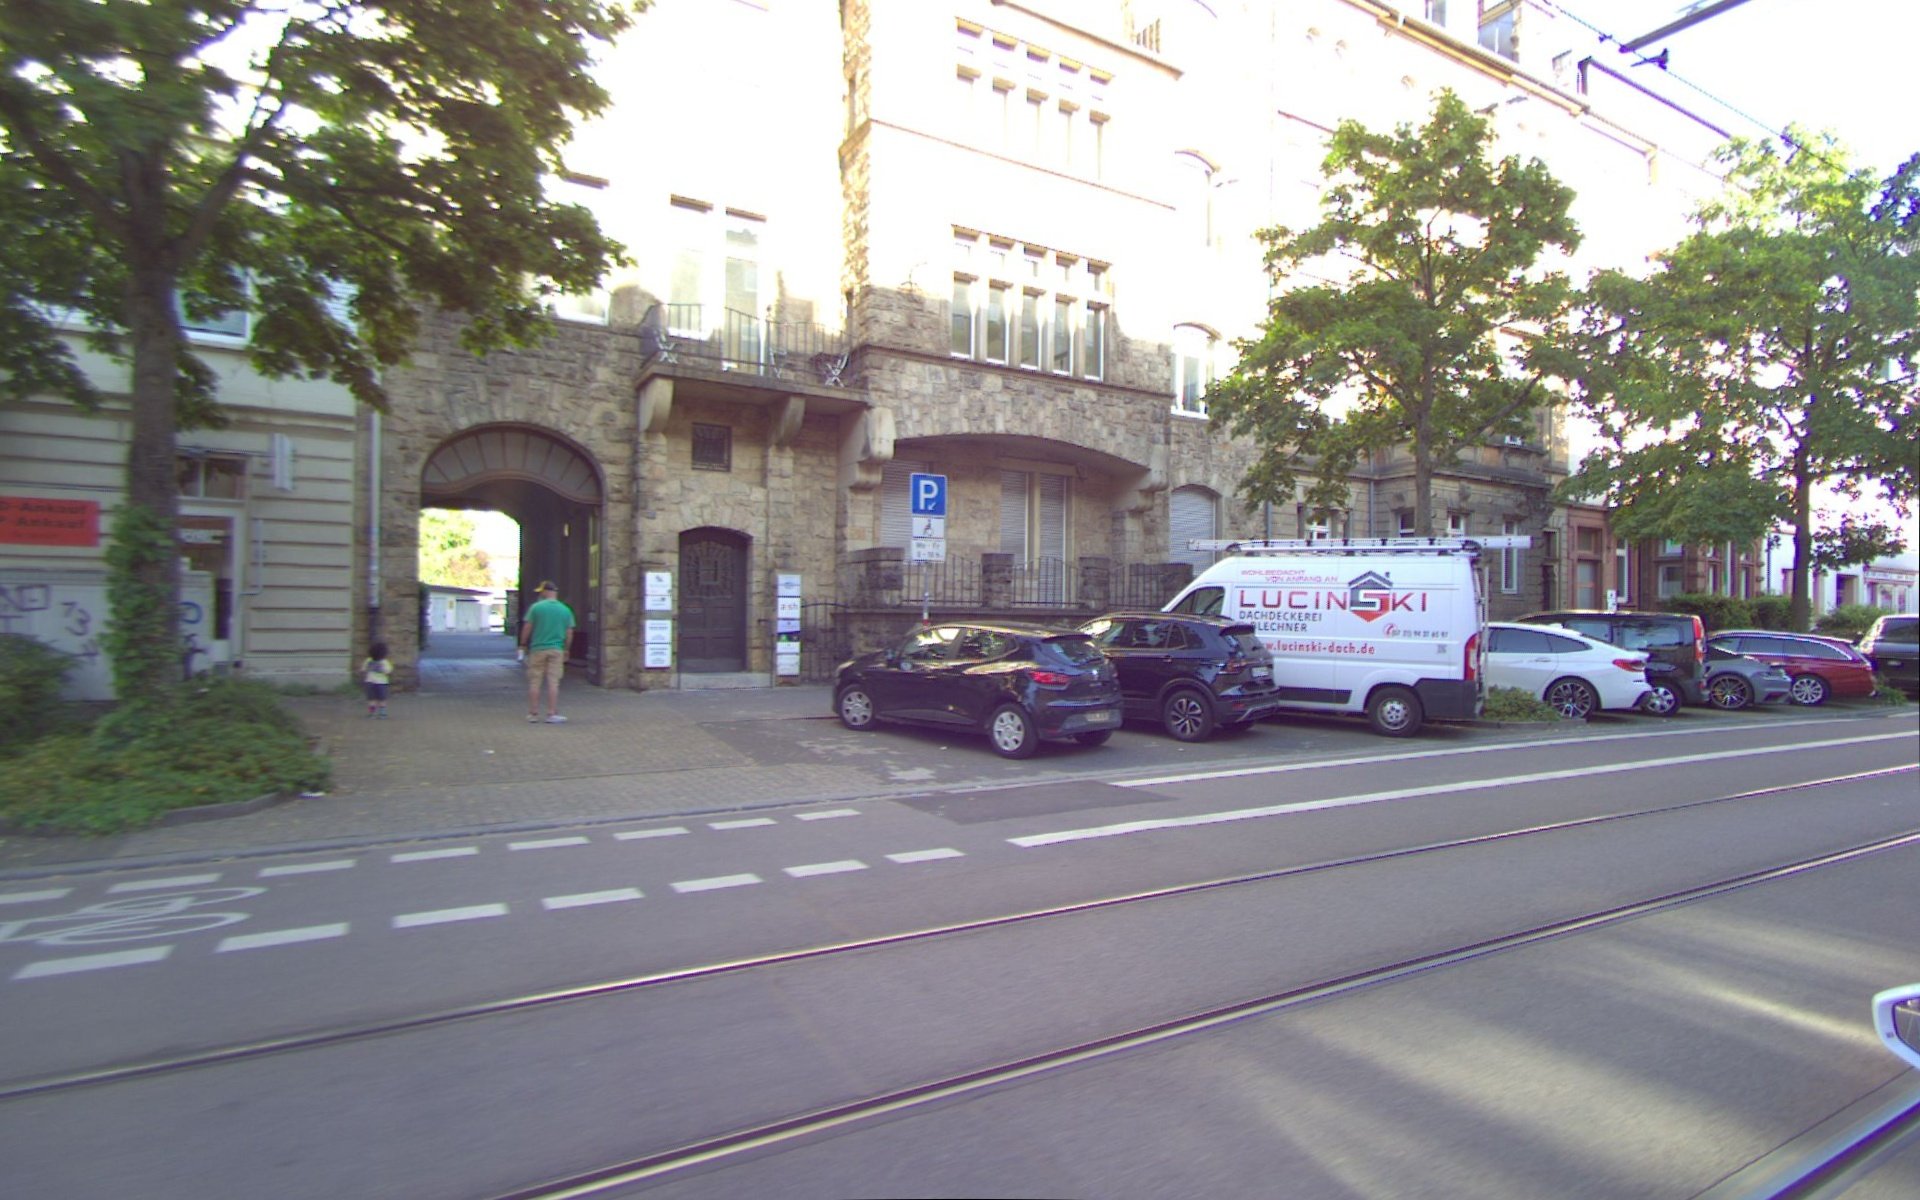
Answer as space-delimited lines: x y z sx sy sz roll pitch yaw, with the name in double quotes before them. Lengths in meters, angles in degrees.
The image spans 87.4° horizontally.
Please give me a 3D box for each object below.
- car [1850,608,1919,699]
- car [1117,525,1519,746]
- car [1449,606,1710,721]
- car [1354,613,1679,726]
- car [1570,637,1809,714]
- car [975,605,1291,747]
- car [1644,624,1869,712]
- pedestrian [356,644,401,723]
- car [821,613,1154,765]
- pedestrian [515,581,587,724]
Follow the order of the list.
"car" 23.382 1.265 24.121 5.185 1.999 1.737 2 -1 -34
"car" 5.151 0.426 14.783 5.293 2.785 1.802 1 0 31
"car" 11.358 1.081 18.583 3.934 1.841 1.707 1 0 35
"car" 9.433 1.108 17.387 4.684 1.639 1.710 1 0 28
"car" 14.481 1.452 20.158 3.746 1.282 1.511 1 -1 35
"car" 2.317 0.936 13.856 3.934 1.639 1.707 1 -1 35
"car" 17.123 1.391 21.758 3.678 1.644 1.781 1 -1 39
"pedestrian" -7.162 1.017 12.379 0.454 0.934 0.352 1 0 -31
"car" 0.222 0.964 12.466 3.945 1.509 1.795 1 -1 44
"pedestrian" -5.213 0.654 12.799 0.753 1.749 0.575 1 0 -31
